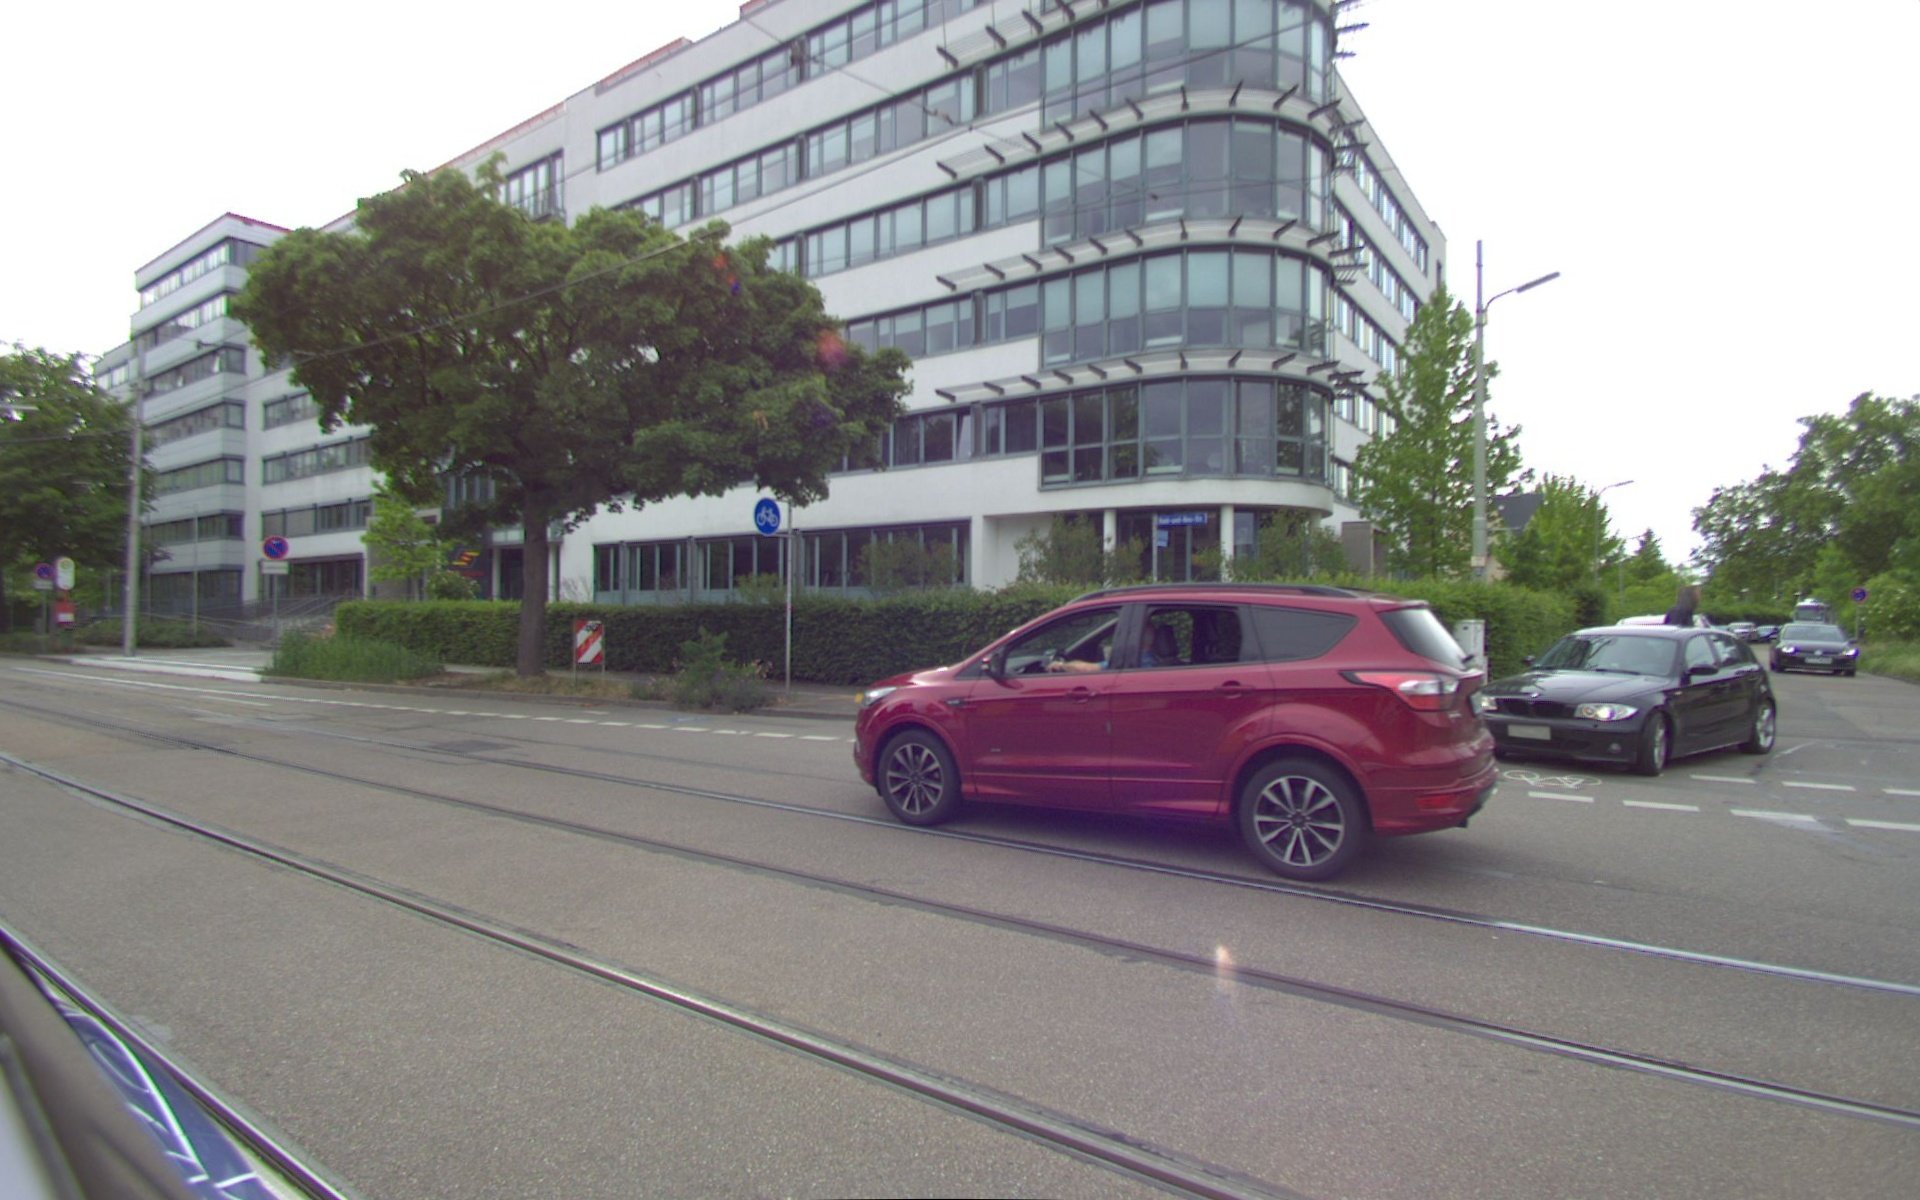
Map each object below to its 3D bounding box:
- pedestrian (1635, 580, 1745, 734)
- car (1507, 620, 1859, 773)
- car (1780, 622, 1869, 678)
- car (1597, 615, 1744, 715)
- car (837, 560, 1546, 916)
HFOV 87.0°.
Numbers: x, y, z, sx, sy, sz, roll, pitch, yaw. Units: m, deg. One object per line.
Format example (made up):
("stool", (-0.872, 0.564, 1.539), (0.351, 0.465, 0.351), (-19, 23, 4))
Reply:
("pedestrian", (9.185, 0.684, 12.738), (1.059, 1.839, 0.796), (-1, -1, 41))
("car", (8.174, 0.948, 11.368), (4.043, 1.379, 1.793), (0, 0, -32))
("car", (24.602, 1.370, 28.903), (1.815, 1.462, 3.934), (-1, -2, 39))
("car", (11.691, 0.990, 16.612), (1.722, 1.433, 3.969), (-3, -3, 37))
("car", (1.425, 0.703, 6.939), (4.395, 1.737, 1.827), (0, -1, 34))
